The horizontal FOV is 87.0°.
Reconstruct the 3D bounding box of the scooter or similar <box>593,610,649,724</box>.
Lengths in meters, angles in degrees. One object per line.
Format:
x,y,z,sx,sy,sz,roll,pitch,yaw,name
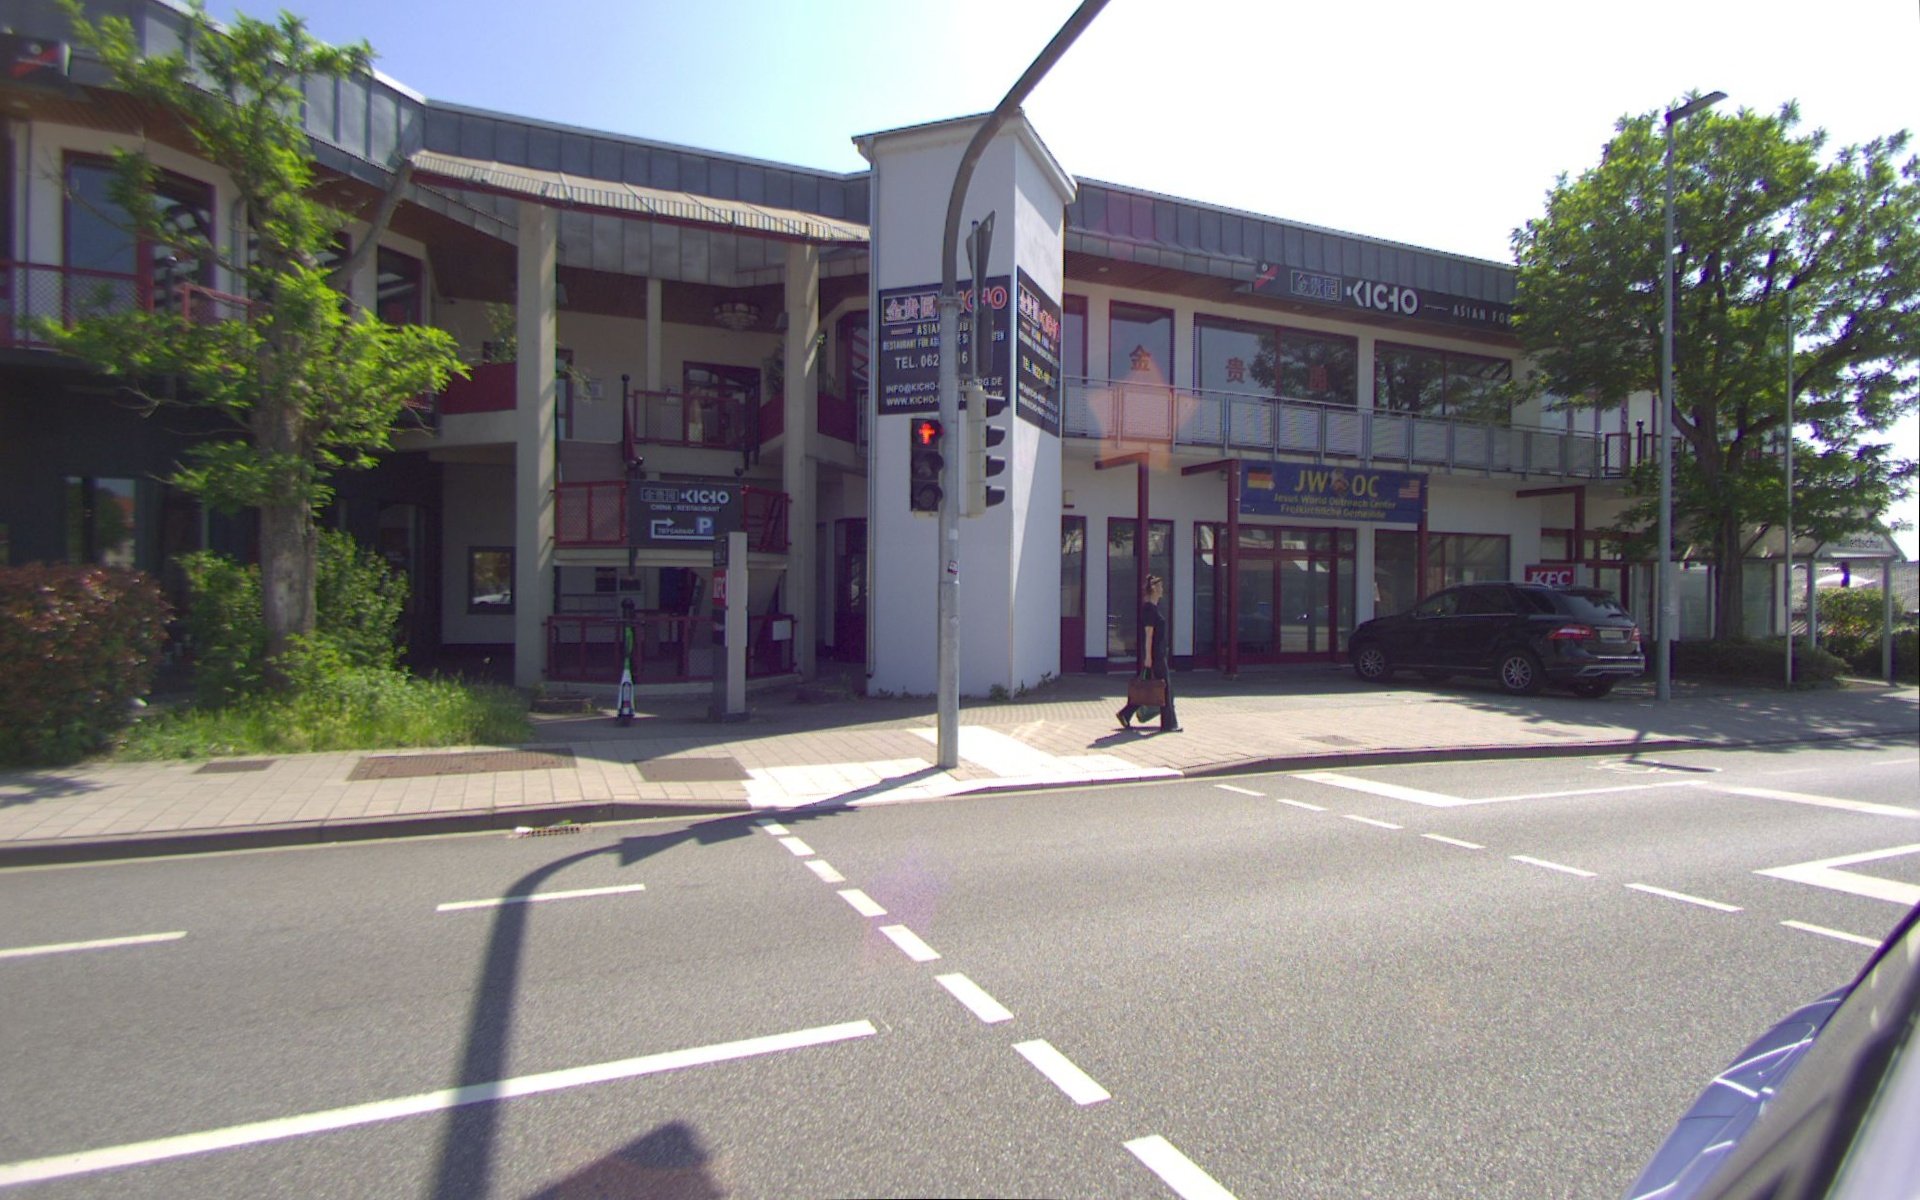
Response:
-3.722,0.699,11.186,0.490,1.137,1.507,1,0,-15,scooter or similar

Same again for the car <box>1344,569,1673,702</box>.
8.805,0.471,16.779,1.771,1.879,4.668,1,1,-24,car

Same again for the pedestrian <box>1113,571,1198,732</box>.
2.097,0.526,10.942,0.827,1.666,0.732,1,0,8,pedestrian
